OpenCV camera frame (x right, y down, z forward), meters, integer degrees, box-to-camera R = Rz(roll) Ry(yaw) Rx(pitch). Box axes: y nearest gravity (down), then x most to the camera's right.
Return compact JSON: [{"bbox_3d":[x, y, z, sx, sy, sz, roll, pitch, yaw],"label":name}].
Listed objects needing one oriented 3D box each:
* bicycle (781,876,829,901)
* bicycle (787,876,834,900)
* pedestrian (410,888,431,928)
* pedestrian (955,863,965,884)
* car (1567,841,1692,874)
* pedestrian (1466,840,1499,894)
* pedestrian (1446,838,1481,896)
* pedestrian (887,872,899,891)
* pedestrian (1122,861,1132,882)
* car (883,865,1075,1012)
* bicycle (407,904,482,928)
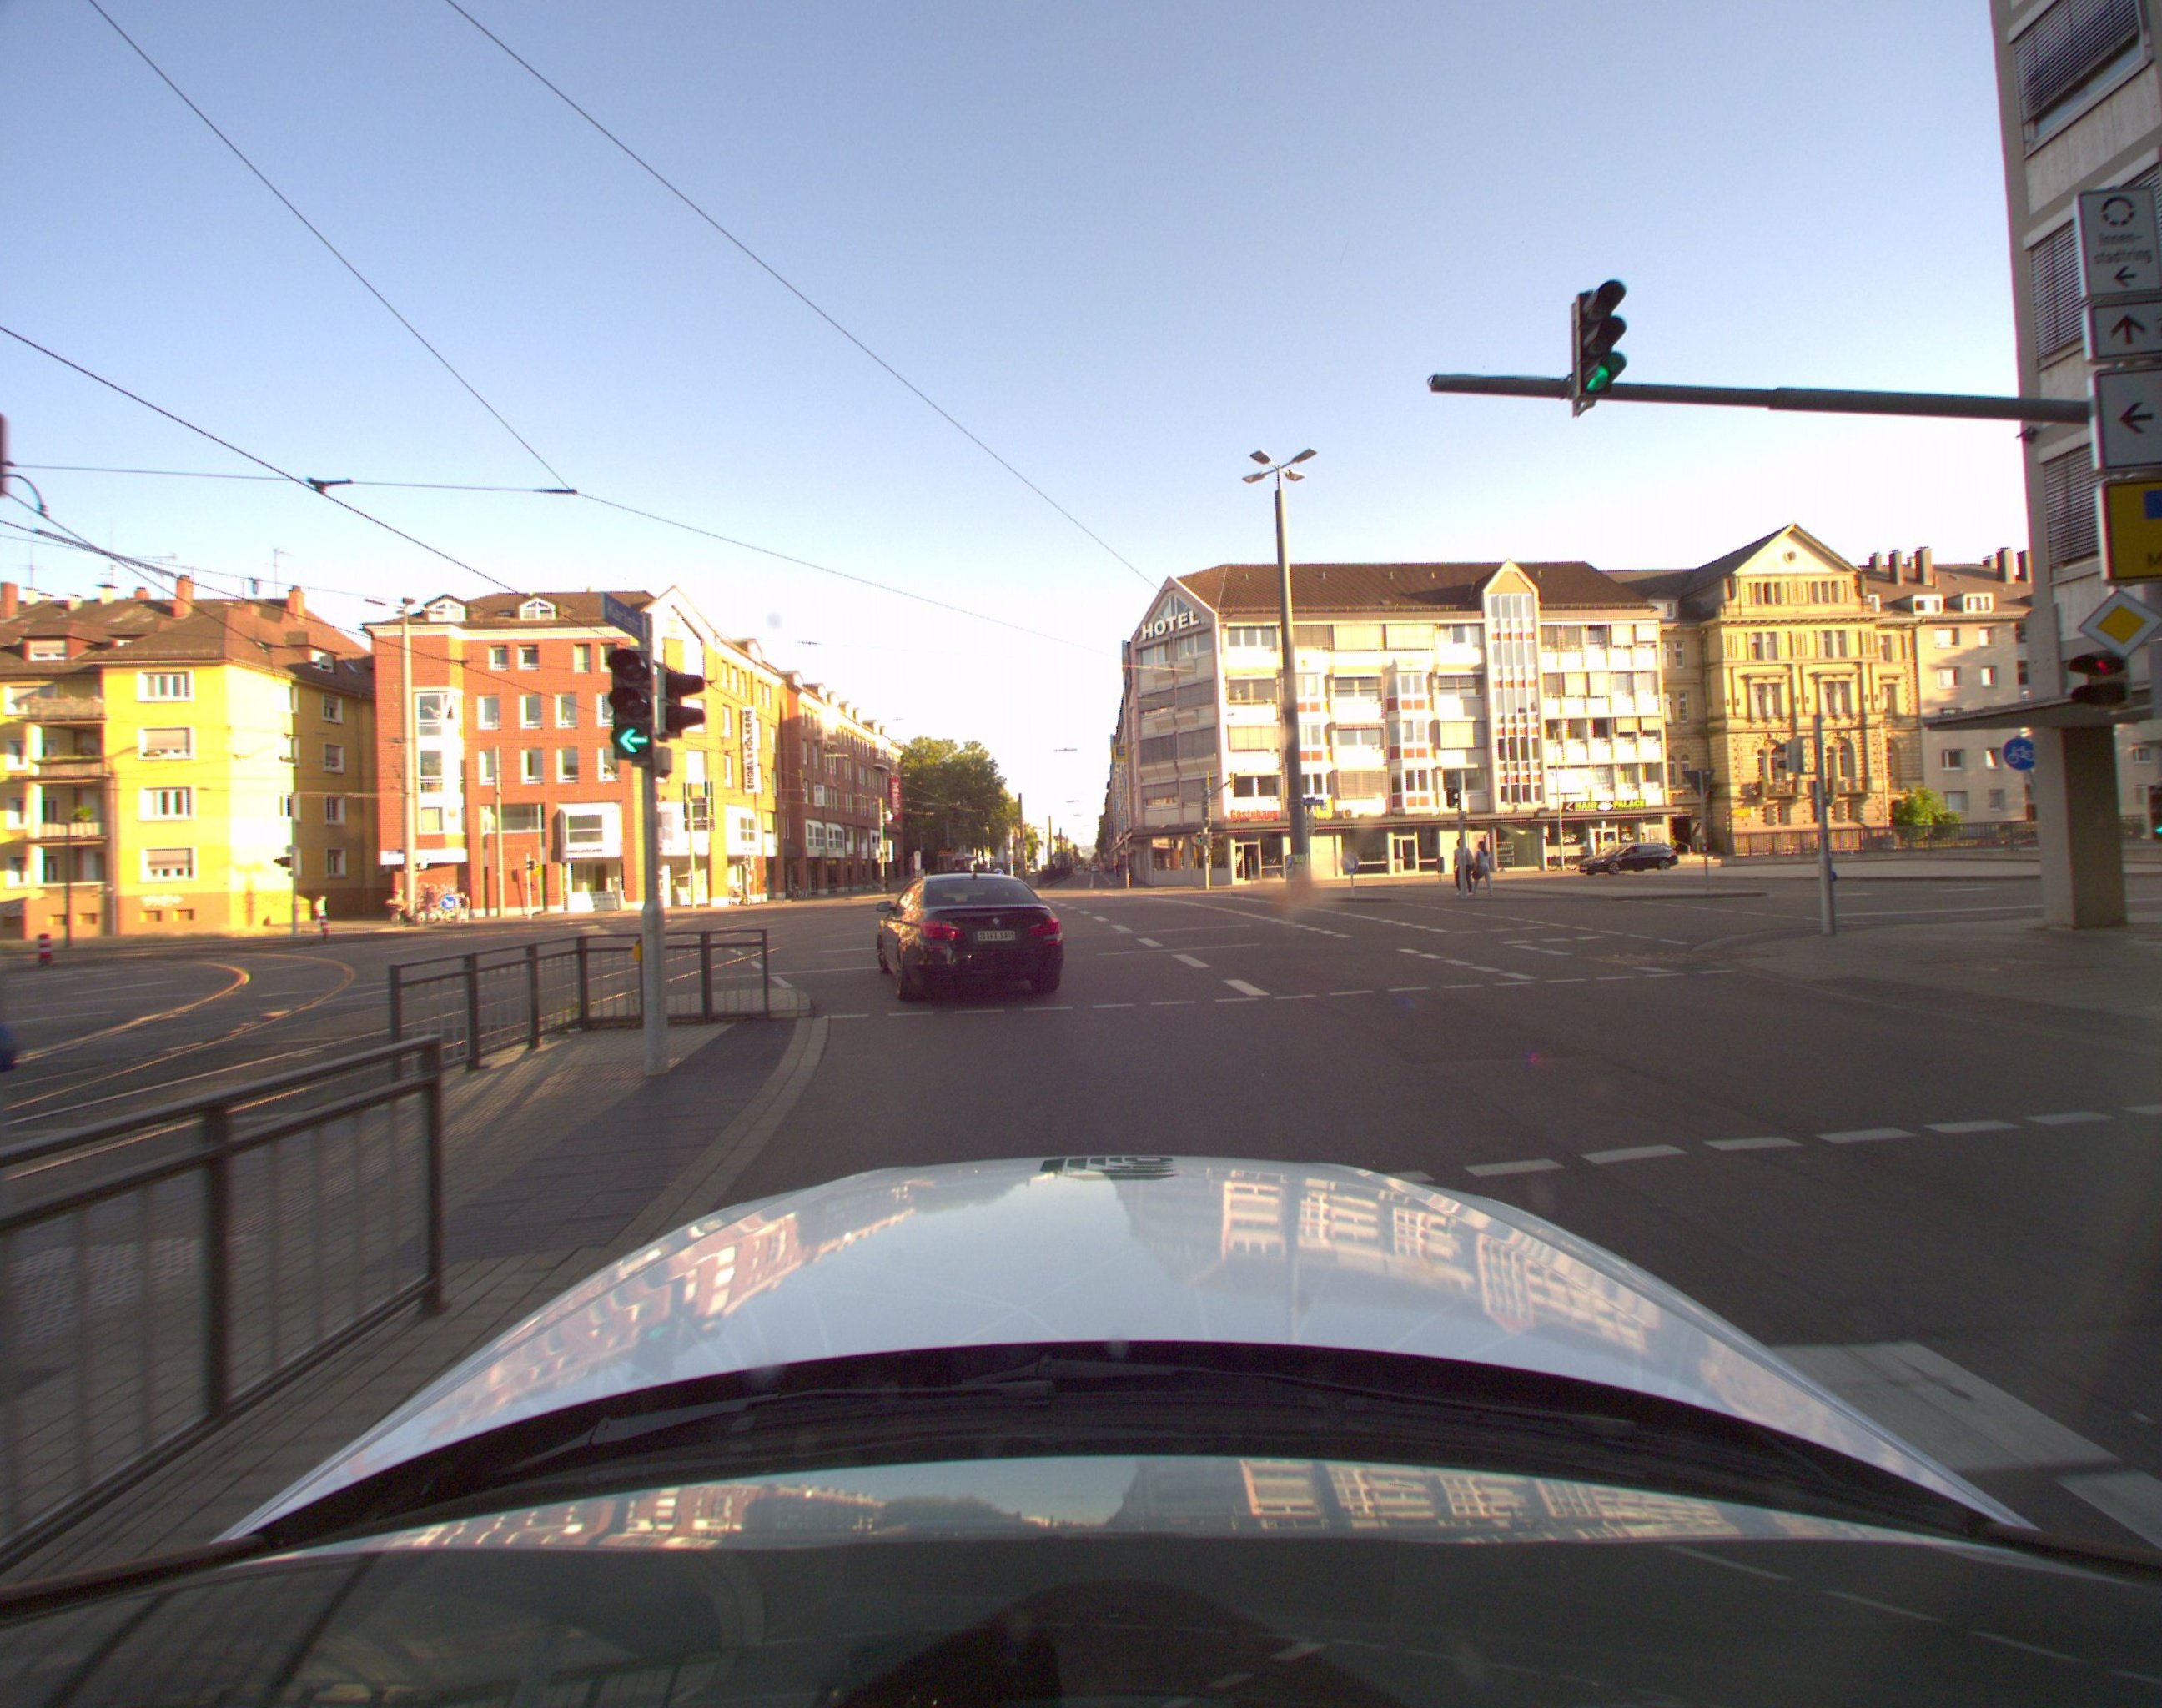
[{"bbox_3d":[-21.406,2.656,63.166,3.286,1.726,1.069,-2,-1,0],"label":"bicycle"},{"bbox_3d":[-21.383,2.700,64.334,3.287,1.726,1.069,-2,-1,-1],"label":"bicycle"},{"bbox_3d":[-28.501,2.322,35.151,0.512,1.708,0.419,-3,-1,-2],"label":"pedestrian"},{"bbox_3d":[-12.031,1.967,81.097,0.806,2.014,0.677,-2,-1,-3],"label":"pedestrian"},{"bbox_3d":[26.739,0.211,39.830,4.575,1.556,2.226,0,-1,5],"label":"car"},{"bbox_3d":[11.967,0.382,24.275,0.696,1.582,0.831,-3,-1,36],"label":"pedestrian"},{"bbox_3d":[11.184,0.376,23.783,0.717,1.649,0.777,-3,-1,36],"label":"pedestrian"},{"bbox_3d":[-21.474,3.145,93.102,1.083,2.014,1.083,-2,-1,-4],"label":"pedestrian"},{"bbox_3d":[3.383,1.286,60.019,0.703,1.548,0.906,-1,2,-2],"label":"pedestrian"},{"bbox_3d":[-1.550,0.900,10.669,1.845,1.495,4.268,0,-1,-16],"label":"car"},{"bbox_3d":[-33.892,3.290,43.393,3.054,1.017,0.928,-2,-1,-10],"label":"bicycle"}]
